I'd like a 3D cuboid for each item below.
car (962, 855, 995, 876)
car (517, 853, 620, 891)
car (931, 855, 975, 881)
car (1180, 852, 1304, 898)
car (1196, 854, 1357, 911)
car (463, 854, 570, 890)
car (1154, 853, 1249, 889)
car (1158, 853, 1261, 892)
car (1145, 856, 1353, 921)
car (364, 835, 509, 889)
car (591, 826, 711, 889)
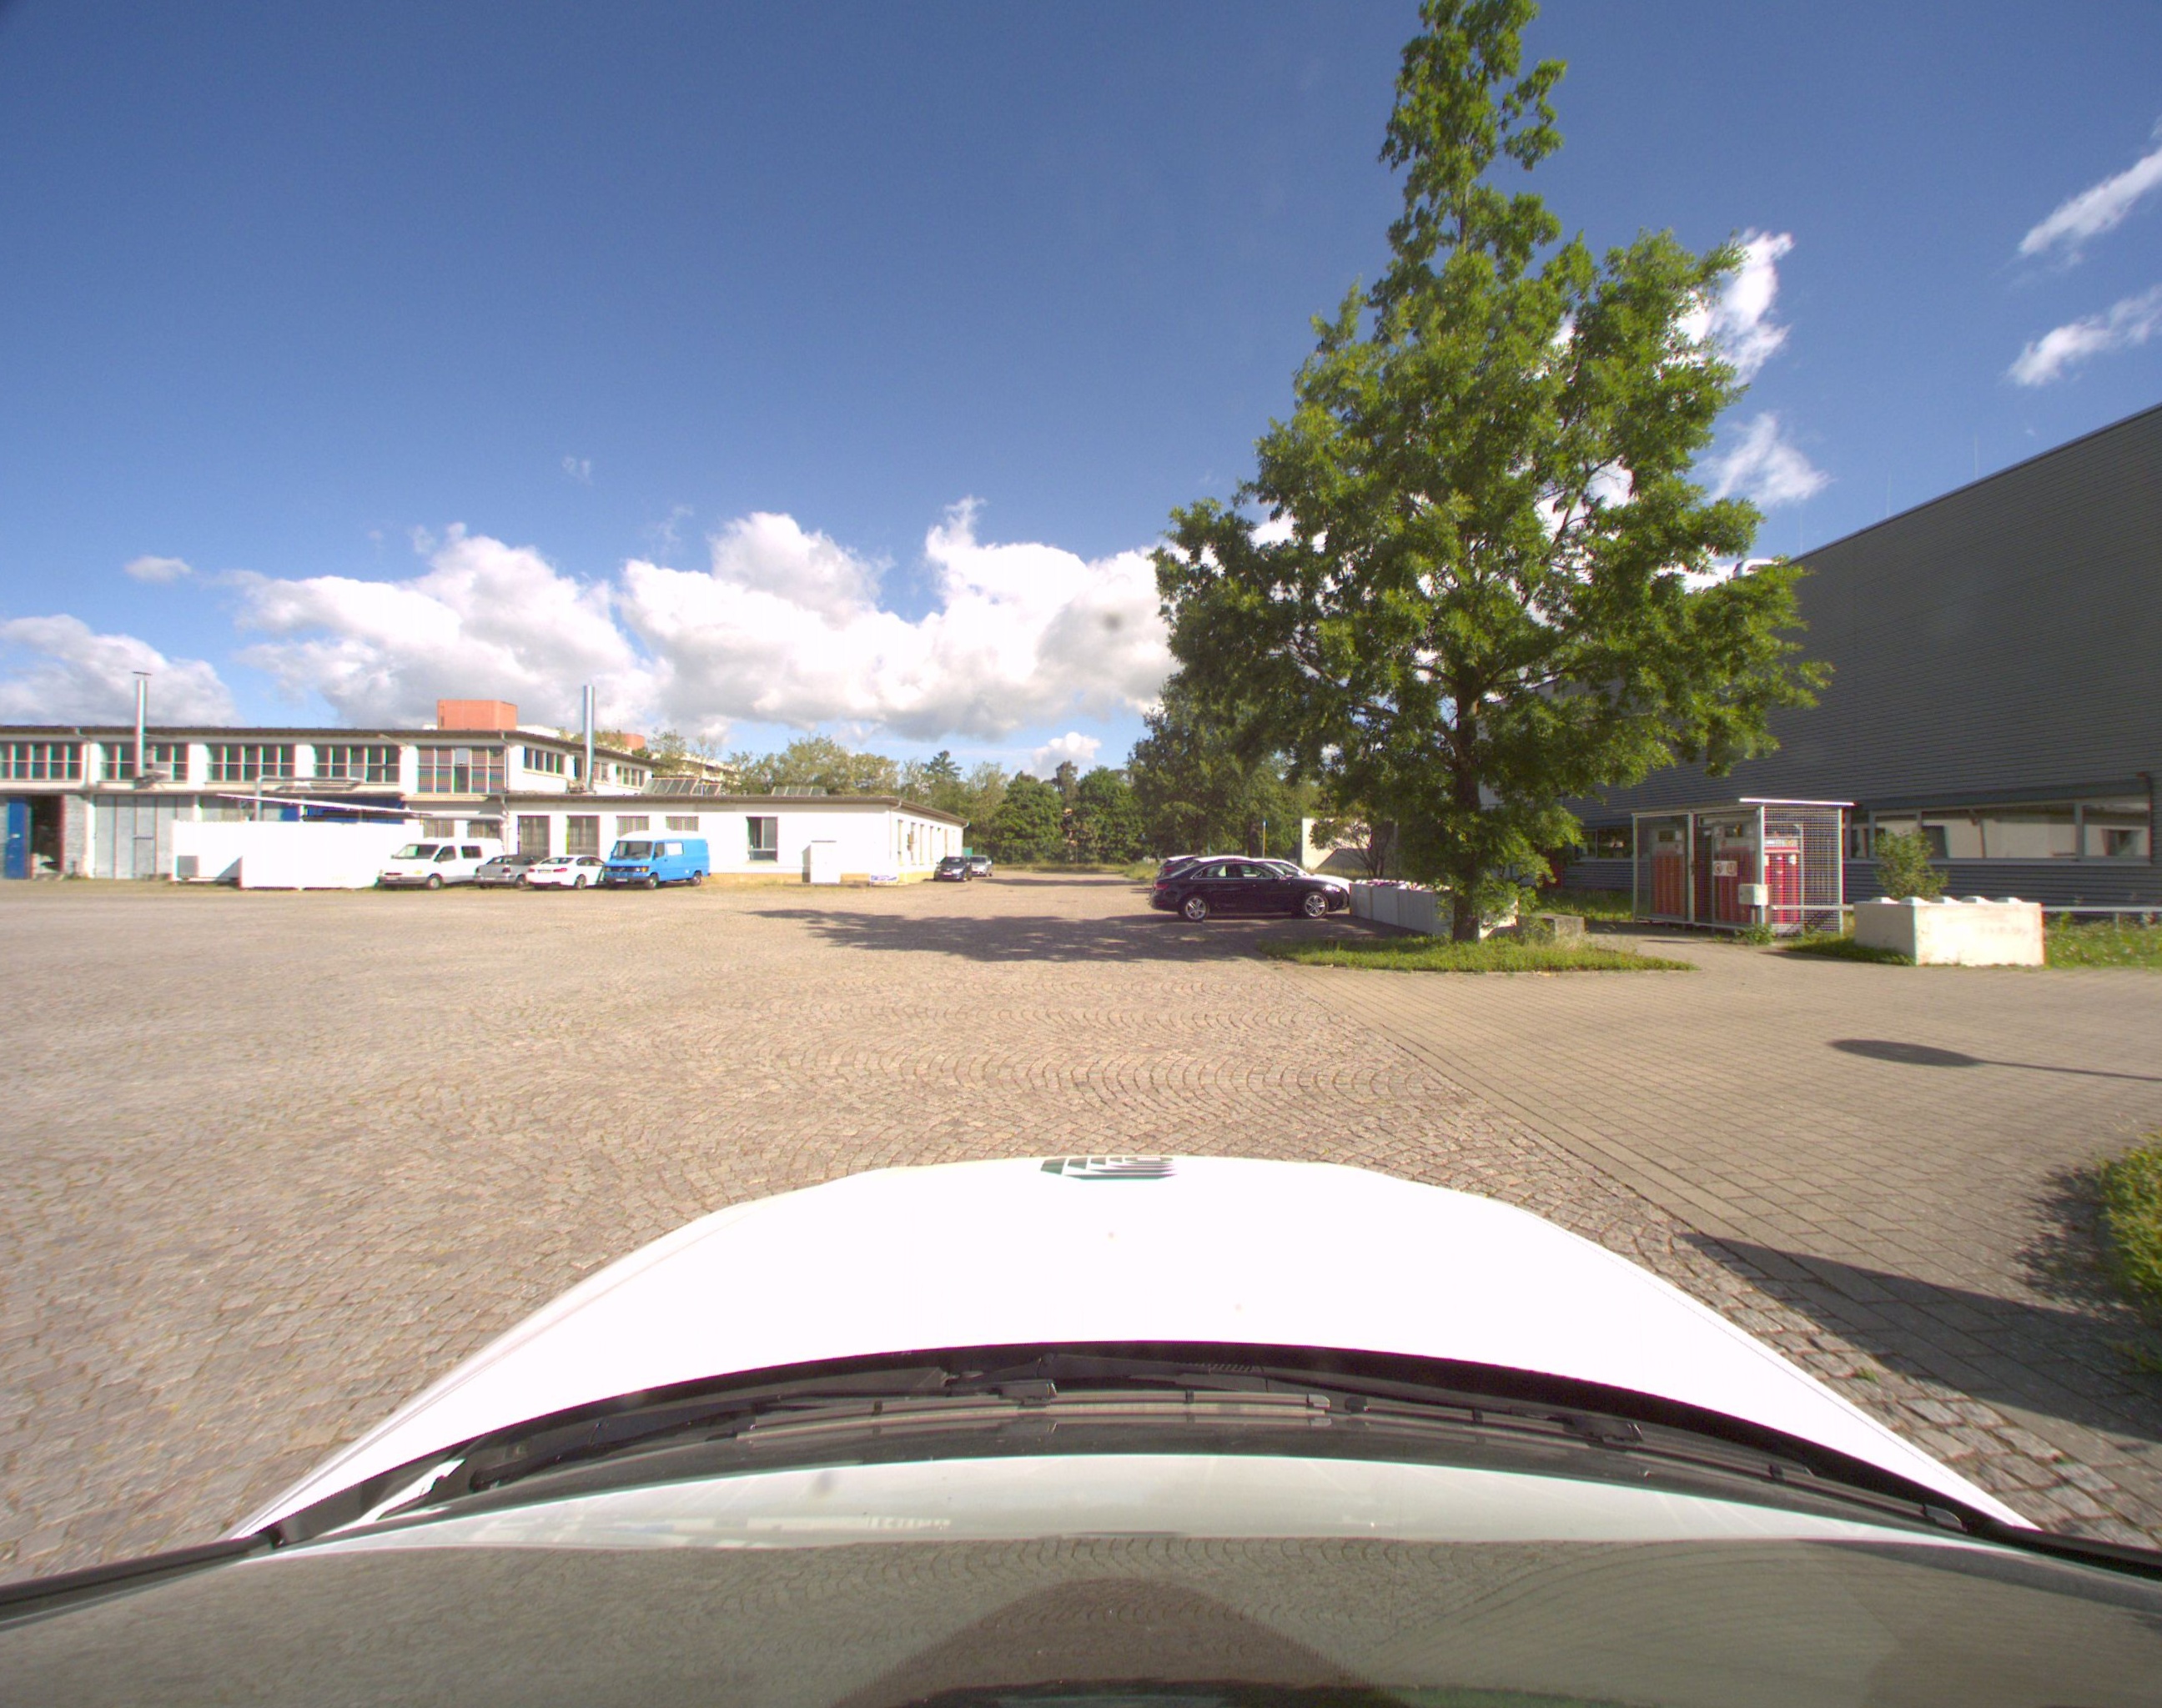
[{"bbox_3d":[-7.069,0.773,56.534,1.681,1.435,3.987,1,0,1],"label":"car"},{"bbox_3d":[-21.019,0.703,33.574,1.725,1.405,3.742,0,1,3],"label":"car"},{"bbox_3d":[-7.249,0.768,46.566,1.757,1.435,3.993,1,0,1],"label":"car"},{"bbox_3d":[5.418,0.693,27.831,3.898,1.446,1.756,-1,0,1],"label":"car"},{"bbox_3d":[5.325,0.774,22.607,4.118,1.460,1.694,-1,0,5],"label":"car"},{"bbox_3d":[-23.798,0.732,34.521,1.680,1.398,3.834,1,0,3],"label":"car"},{"bbox_3d":[5.182,0.722,35.471,3.898,1.435,1.796,-1,0,1],"label":"car"},{"bbox_3d":[5.106,0.735,32.818,3.898,1.417,1.693,-1,0,1],"label":"car"},{"bbox_3d":[3.989,0.803,19.873,4.705,1.423,1.756,-1,0,-1],"label":"car"},{"bbox_3d":[-26.714,0.312,34.010,1.995,2.081,4.809,0,0,3],"label":"car"},{"bbox_3d":[-18.227,0.155,34.860,2.074,2.483,5.243,0,0,3],"label":"car"}]
